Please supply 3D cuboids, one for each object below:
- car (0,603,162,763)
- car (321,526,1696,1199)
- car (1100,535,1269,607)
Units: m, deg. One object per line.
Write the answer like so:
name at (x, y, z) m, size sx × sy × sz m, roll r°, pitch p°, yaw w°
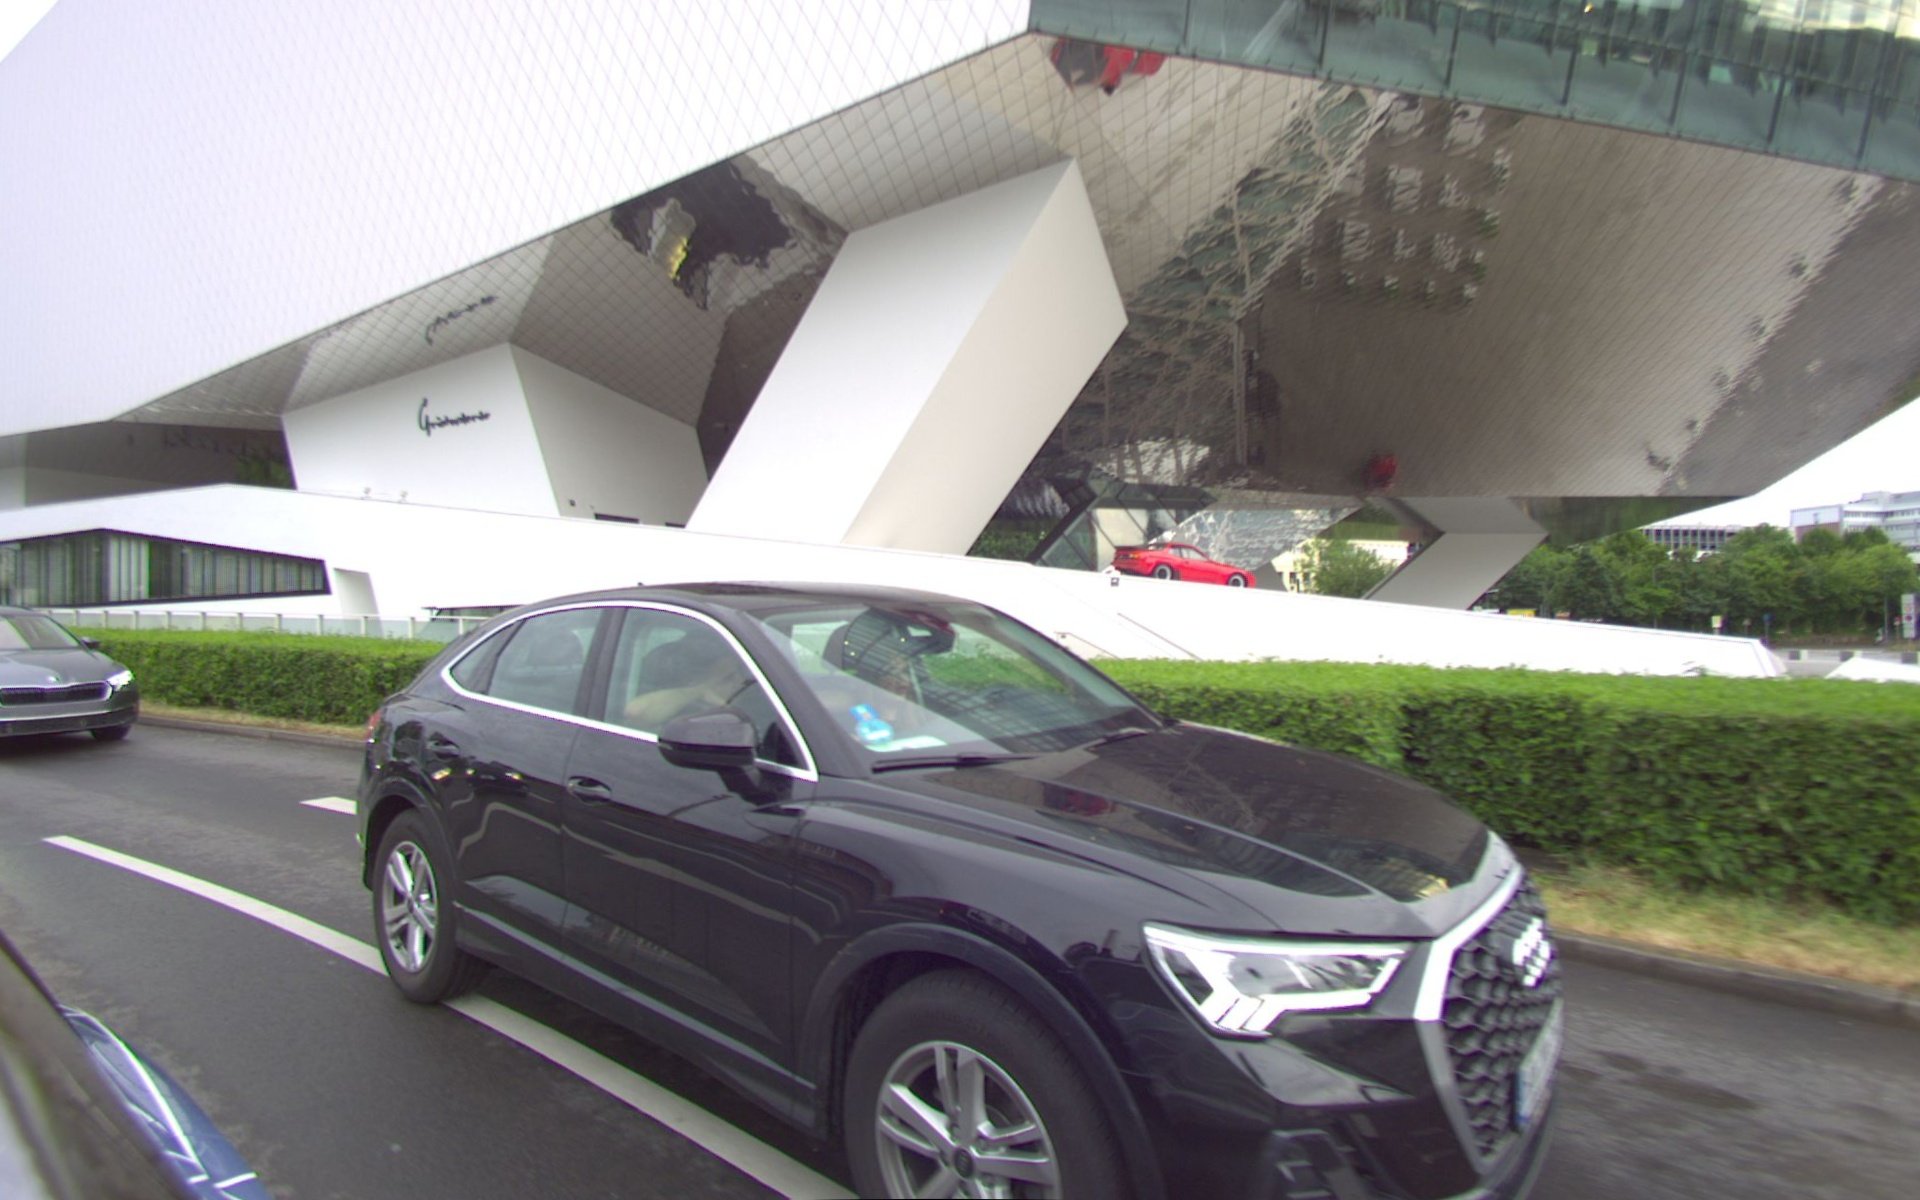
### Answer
car at (-10.498, 0.777, 10.671) m, size 4.284 × 1.449 × 1.800 m, roll 0°, pitch 0°, yaw 30°
car at (-0.339, 0.667, 3.337) m, size 4.391 × 1.529 × 1.735 m, roll 0°, pitch 0°, yaw 40°
car at (6.422, -0.780, 29.049) m, size 4.174 × 1.394 × 2.006 m, roll 8°, pitch -4°, yaw -17°
